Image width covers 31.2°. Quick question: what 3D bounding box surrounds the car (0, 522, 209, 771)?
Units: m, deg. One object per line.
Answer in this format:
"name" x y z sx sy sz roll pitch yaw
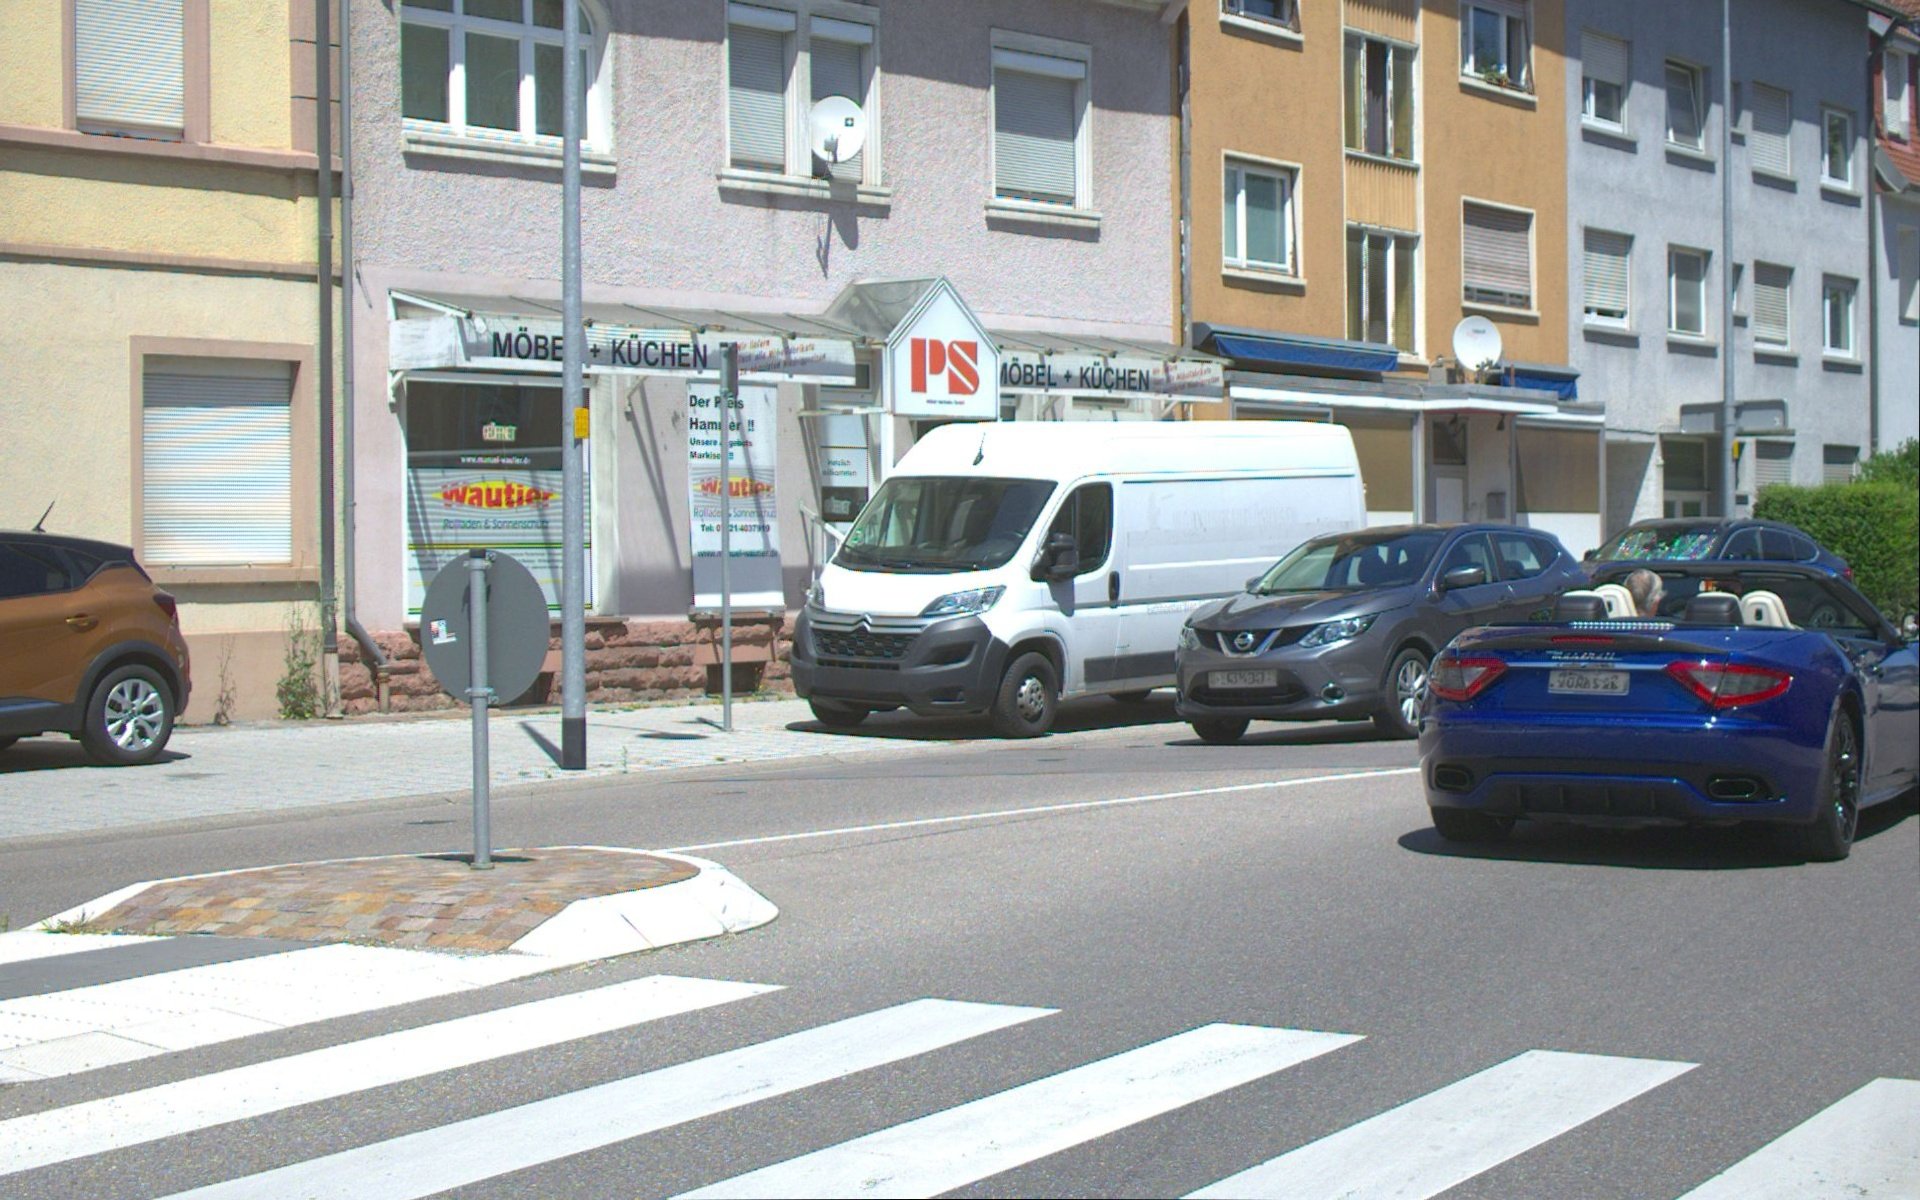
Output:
"car" -7.010 0.300 21.939 1.799 1.536 4.106 2 3 39

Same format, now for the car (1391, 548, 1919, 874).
"car" 3.680 0.439 16.871 1.873 1.337 4.590 1 1 23

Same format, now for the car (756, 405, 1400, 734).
"car" 1.137 -0.331 28.569 2.124 2.441 6.104 2 3 38

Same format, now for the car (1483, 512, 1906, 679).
"car" 8.035 -0.109 37.315 2.091 1.609 5.095 2 3 44

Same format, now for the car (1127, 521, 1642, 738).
"car" 3.302 0.199 26.072 1.799 1.484 4.380 -2 -1 39
